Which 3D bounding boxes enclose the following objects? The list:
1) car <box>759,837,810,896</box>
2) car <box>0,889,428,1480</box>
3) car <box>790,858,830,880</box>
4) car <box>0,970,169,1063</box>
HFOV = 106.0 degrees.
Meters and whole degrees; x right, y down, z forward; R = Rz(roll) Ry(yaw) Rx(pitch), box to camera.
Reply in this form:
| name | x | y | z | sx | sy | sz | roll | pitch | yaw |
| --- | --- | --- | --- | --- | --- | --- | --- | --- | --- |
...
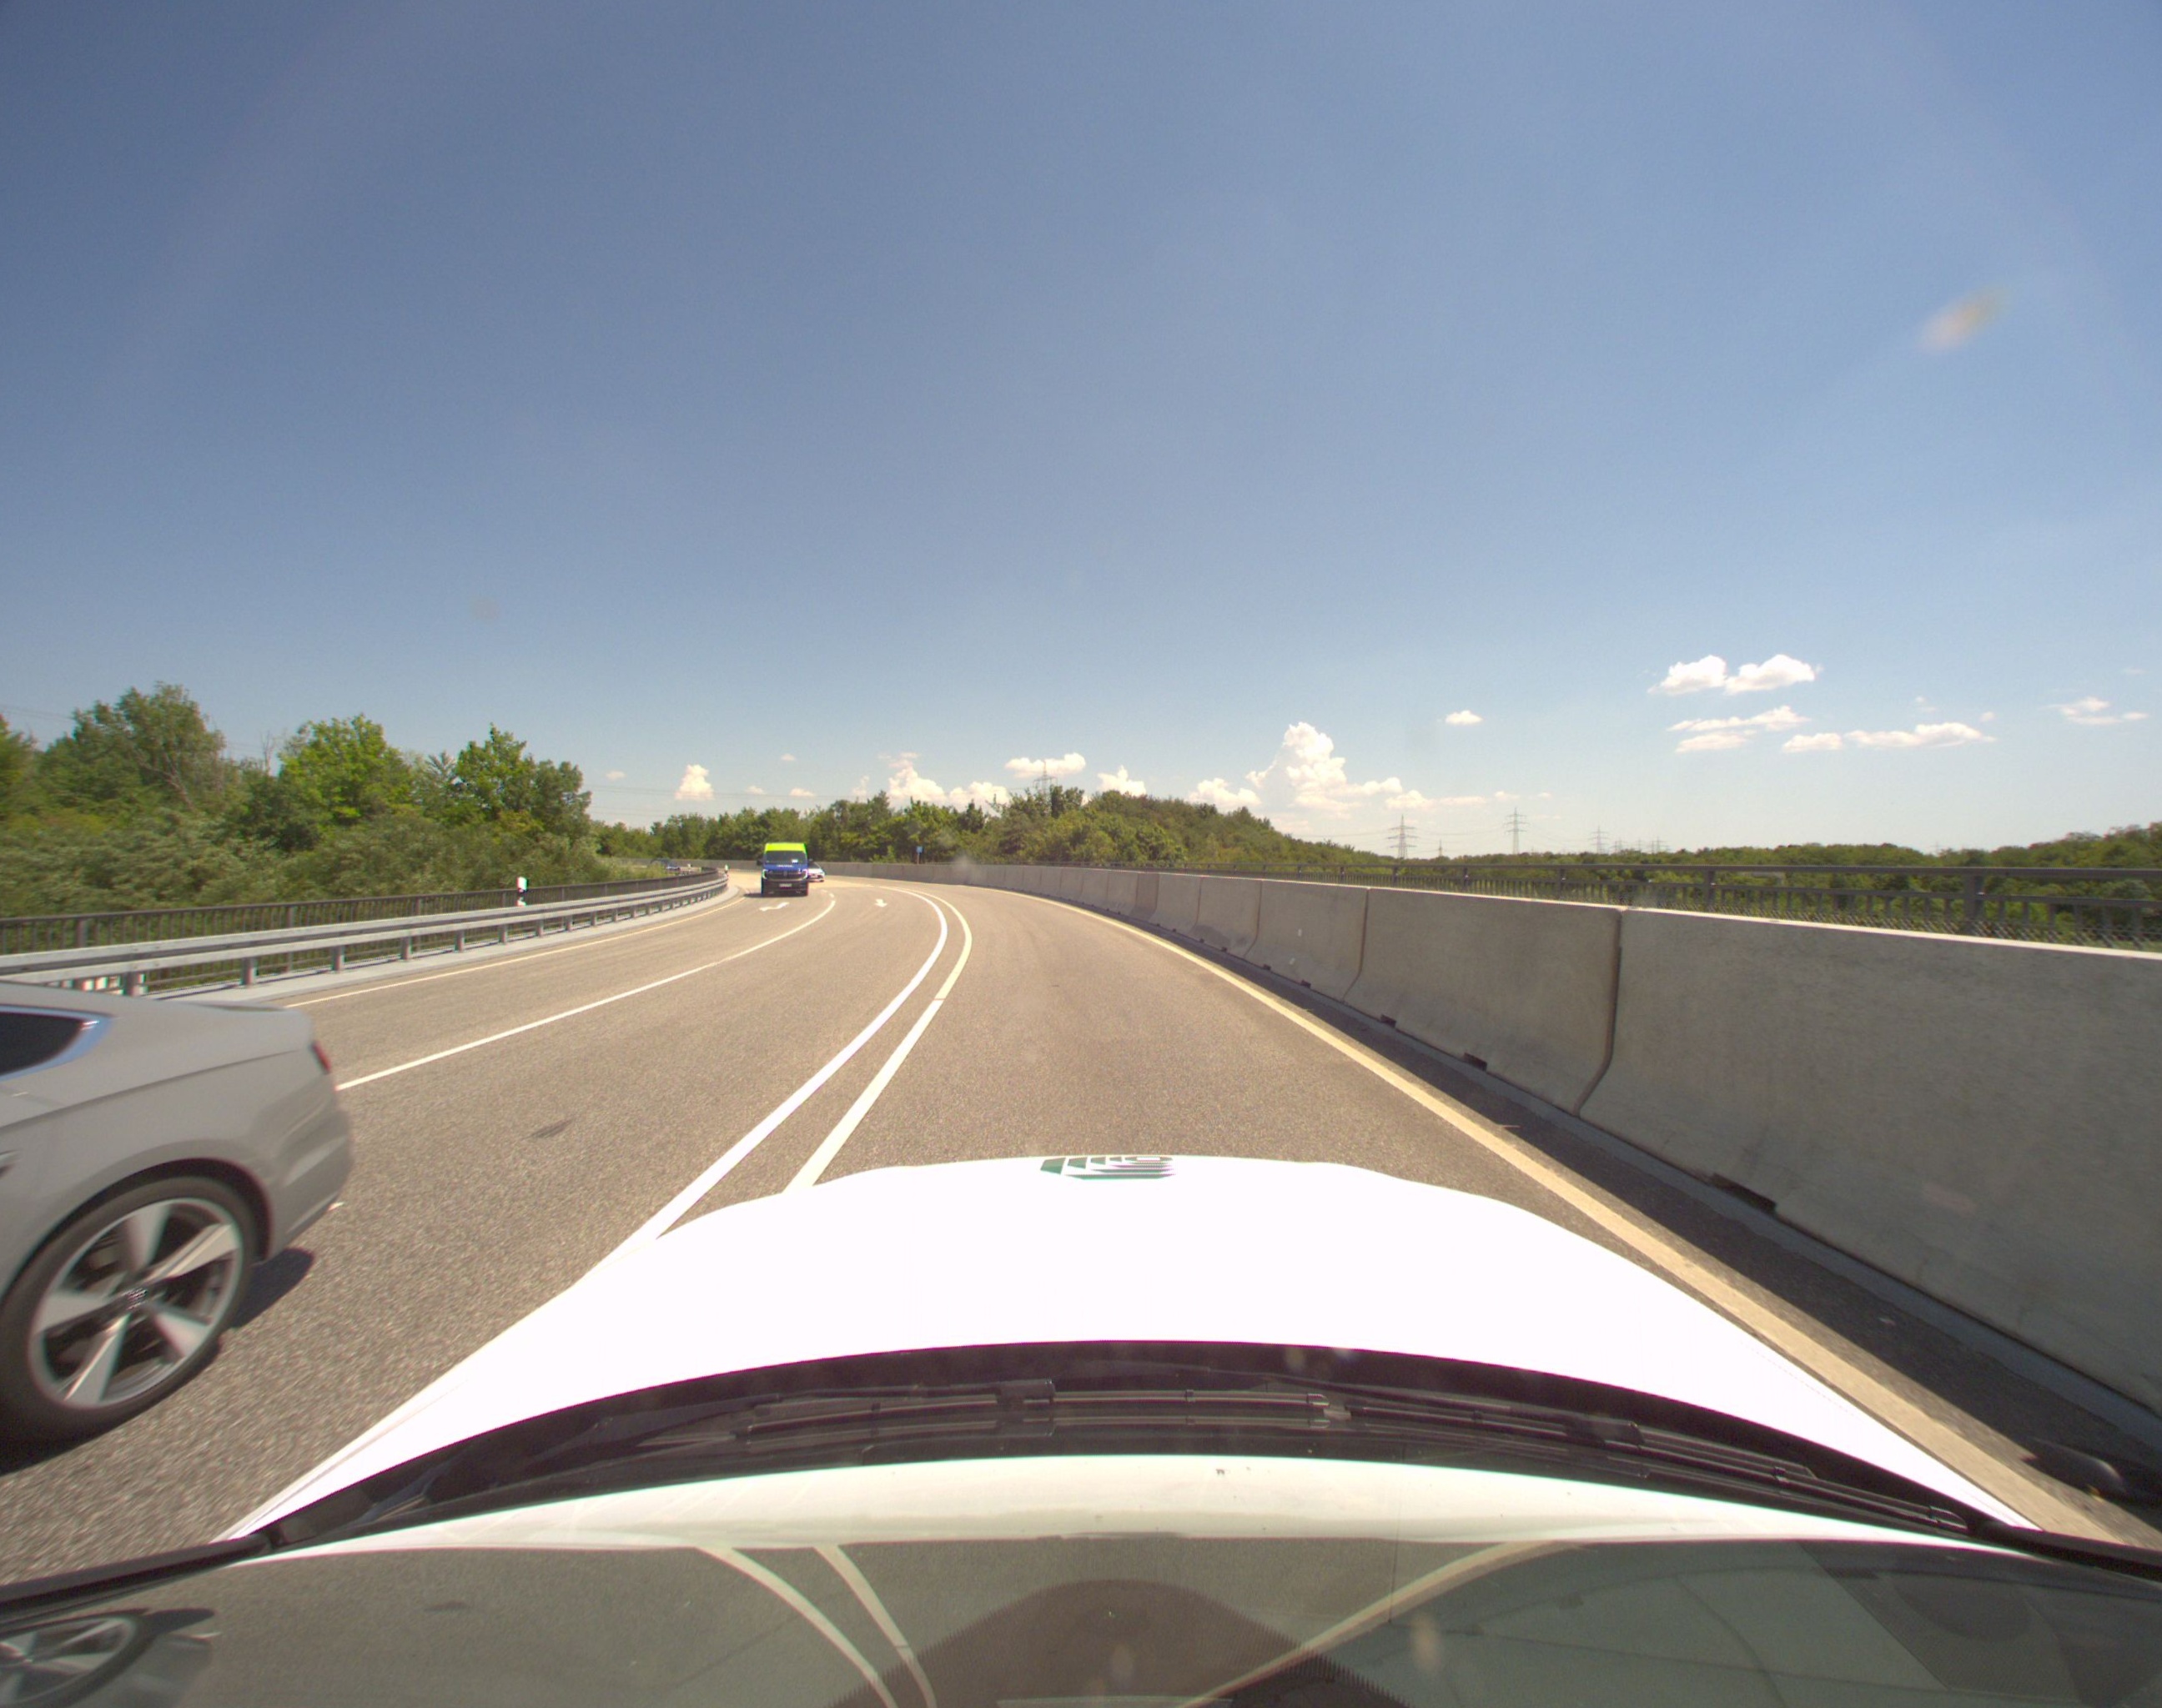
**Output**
| name | x | y | z | sx | sy | sz | roll | pitch | yaw |
| --- | --- | --- | --- | --- | --- | --- | --- | --- | --- |
| car | -13.942 | 0.532 | 38.267 | 2.001 | 2.484 | 5.443 | -2 | 1 | -20 |
| car | -3.487 | 0.833 | 1.141 | 1.774 | 1.385 | 4.278 | -1 | -1 | -2 |
| car | -19.322 | 1.082 | 57.966 | 1.754 | 1.459 | 4.323 | -2 | -1 | -31 |
| car | -39.835 | 6.253 | 31.691 | 5.457 | 2.921 | 2.630 | 2 | -1 | -1 |
